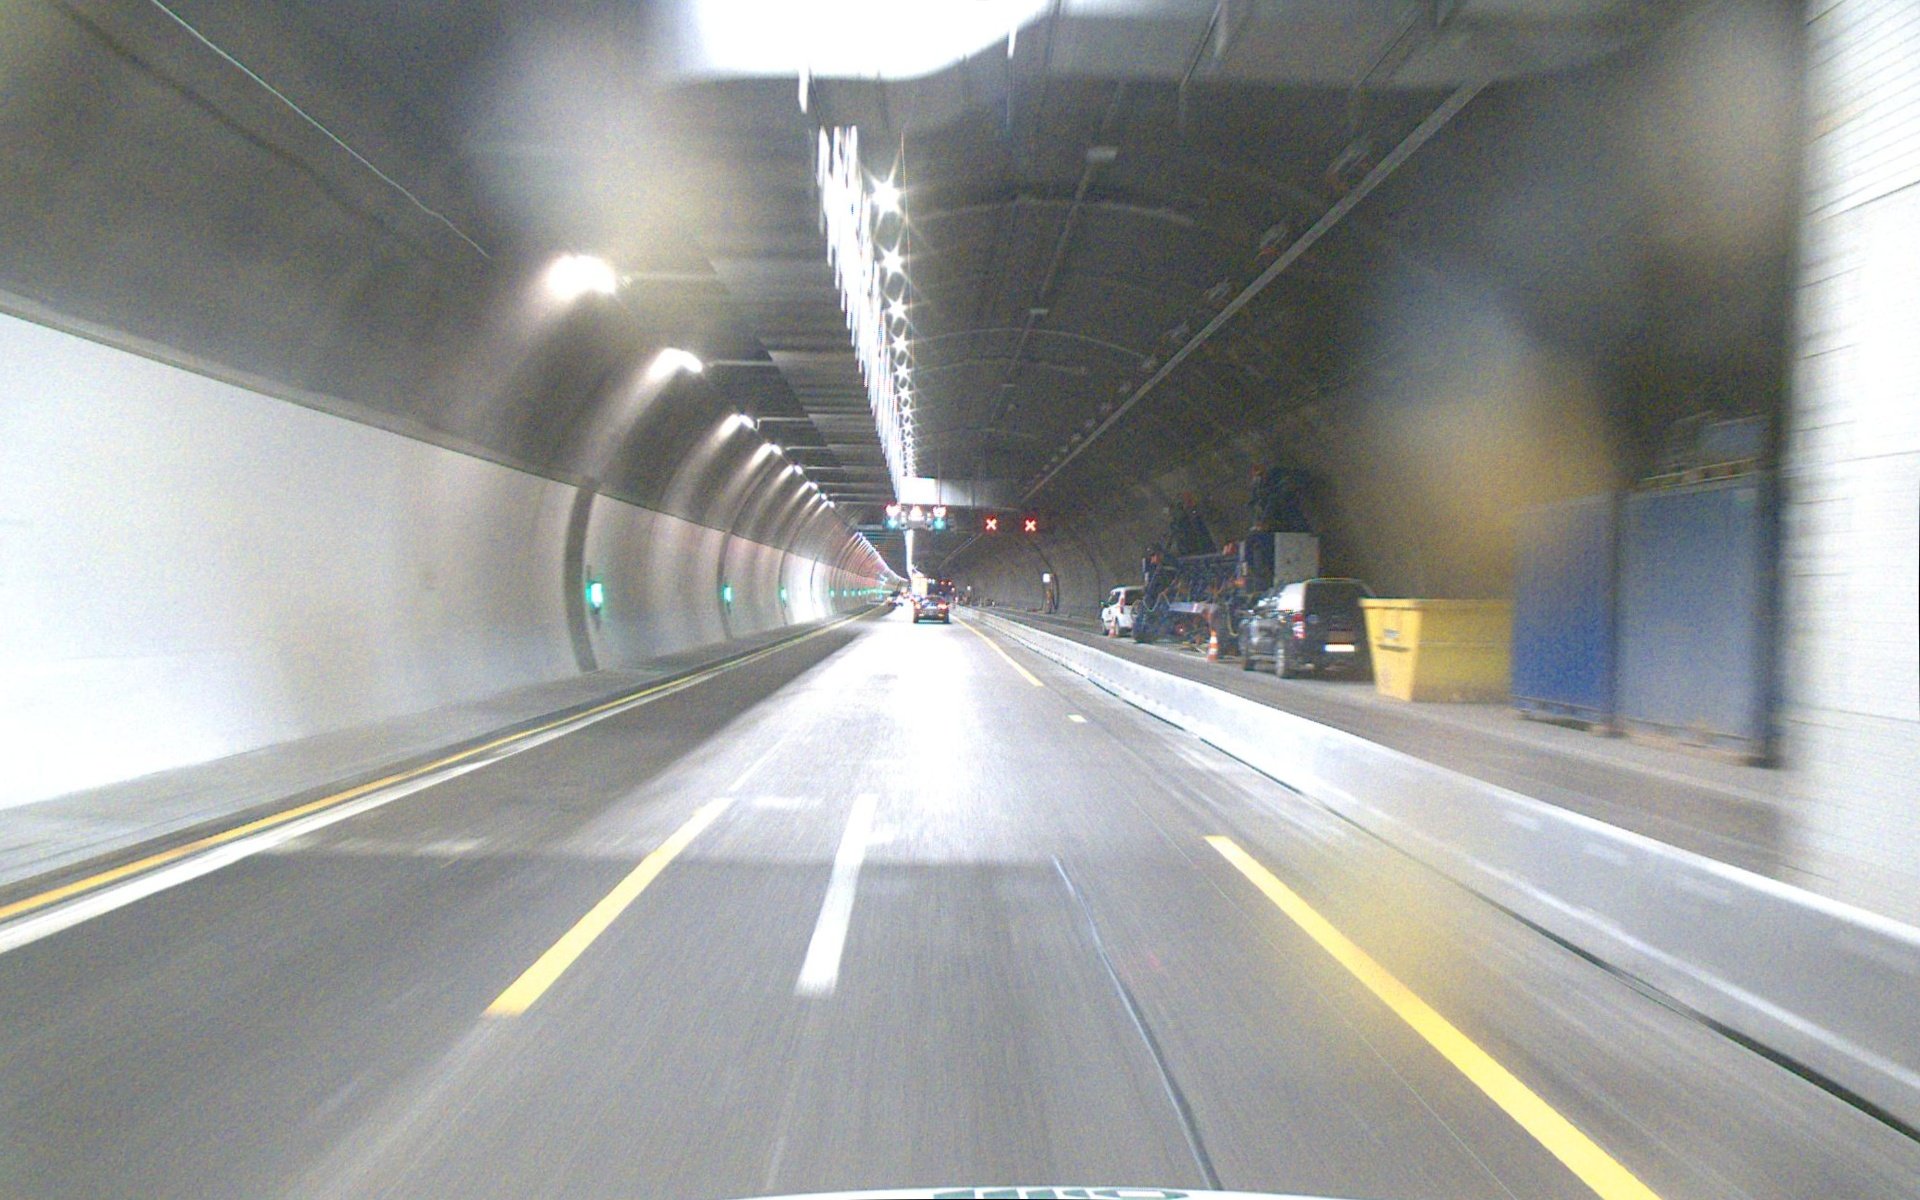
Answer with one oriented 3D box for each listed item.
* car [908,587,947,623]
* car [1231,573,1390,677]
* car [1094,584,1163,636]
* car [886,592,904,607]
[{"bbox_3d":[-1.704,0.231,85.930,1.908,1.826,3.998,0,0,-3],"label":"car"},{"bbox_3d":[6.893,0.449,33.140,1.791,1.891,5.439,1,0,-3],"label":"car"},{"bbox_3d":[6.372,0.347,63.107,1.717,1.877,4.640,-1,0,-6],"label":"car"},{"bbox_3d":[-7.299,-0.048,185.697,1.891,1.716,3.999,0,0,-1],"label":"car"}]
